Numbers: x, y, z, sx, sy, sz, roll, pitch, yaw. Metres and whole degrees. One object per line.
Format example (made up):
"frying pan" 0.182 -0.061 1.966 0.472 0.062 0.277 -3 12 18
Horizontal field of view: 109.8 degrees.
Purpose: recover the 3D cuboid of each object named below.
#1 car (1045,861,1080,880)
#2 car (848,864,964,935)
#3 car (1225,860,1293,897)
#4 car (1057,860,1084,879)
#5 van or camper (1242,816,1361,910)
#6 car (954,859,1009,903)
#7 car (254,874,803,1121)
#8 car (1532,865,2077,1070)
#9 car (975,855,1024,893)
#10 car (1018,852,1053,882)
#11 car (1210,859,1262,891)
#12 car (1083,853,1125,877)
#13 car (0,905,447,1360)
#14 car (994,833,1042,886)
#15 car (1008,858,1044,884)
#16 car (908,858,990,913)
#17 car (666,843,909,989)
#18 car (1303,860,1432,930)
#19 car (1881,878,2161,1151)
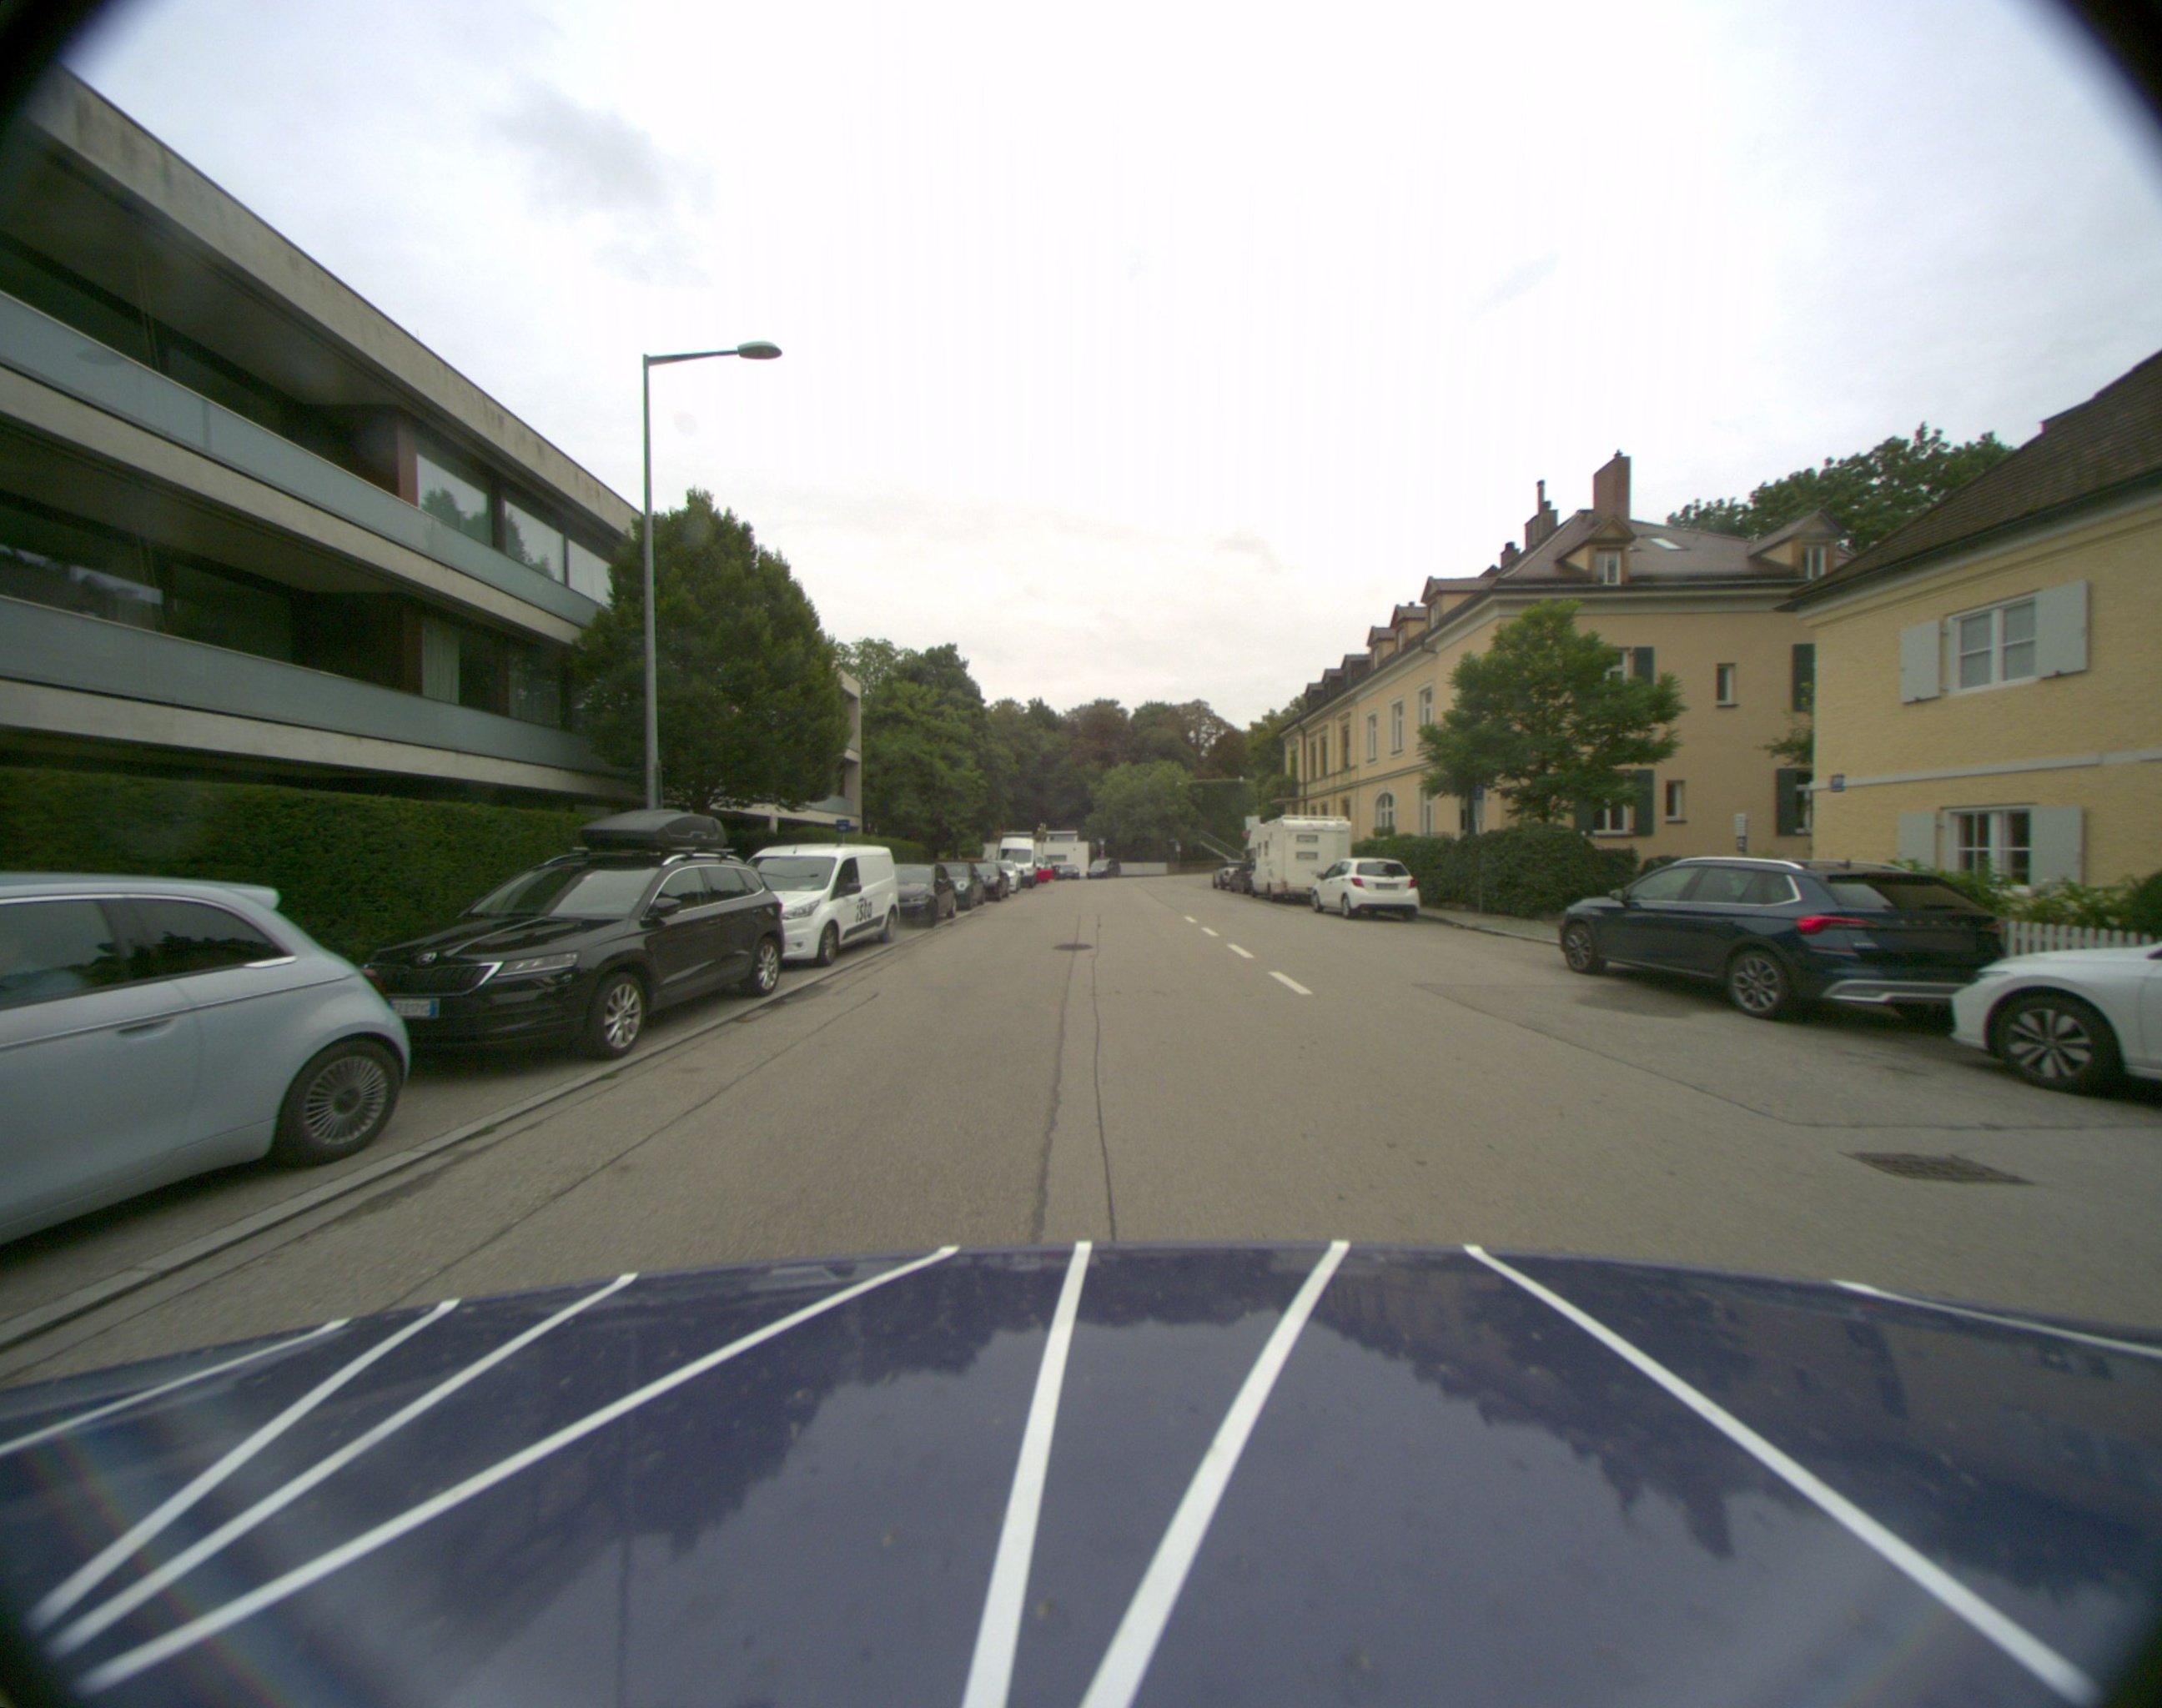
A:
"car" -1.720 1.511 68.840 1.899 1.437 4.010 -3 -2 -19
"car" -4.029 0.998 18.202 1.752 1.455 4.243 0 0 1
"car" 8.032 1.071 34.730 1.940 1.499 4.822 2 0 0
"car" -0.924 1.324 64.445 1.897 1.438 4.268 -3 -1 -5
"van or camper" 7.732 0.305 27.670 2.461 2.923 7.213 1 0 3
"car" -3.699 0.960 28.987 1.284 1.497 5.208 2 -1 1
"car" -4.390 0.984 7.176 1.752 1.471 4.598 -1 0 1
"car" 7.255 0.963 8.469 1.849 1.526 4.441 2 1 1
"car" -3.682 0.912 35.197 1.876 1.560 5.001 2 -1 -2
"car" -3.119 0.898 53.360 1.939 1.893 5.073 2 -1 2
"car" 8.201 1.088 40.601 1.940 1.526 4.532 2 0 2
"car" 1.902 0.937 61.715 1.996 1.682 4.343 -5 -4 21
"car" -4.662 1.040 2.565 1.752 1.472 3.888 0 0 0
"car" -3.372 0.330 41.899 2.085 2.670 6.088 2 -1 0
"car" -3.421 1.030 48.130 1.875 1.498 4.838 2 -1 0
"car" -3.984 0.898 23.543 1.731 1.520 4.205 1 0 1
"car" -4.372 0.817 12.328 1.827 1.849 4.899 -2 0 2
"car" 7.260 0.968 19.728 1.783 1.526 4.228 2 0 1
"car" 7.146 0.974 3.649 1.849 1.526 4.521 2 0 1
